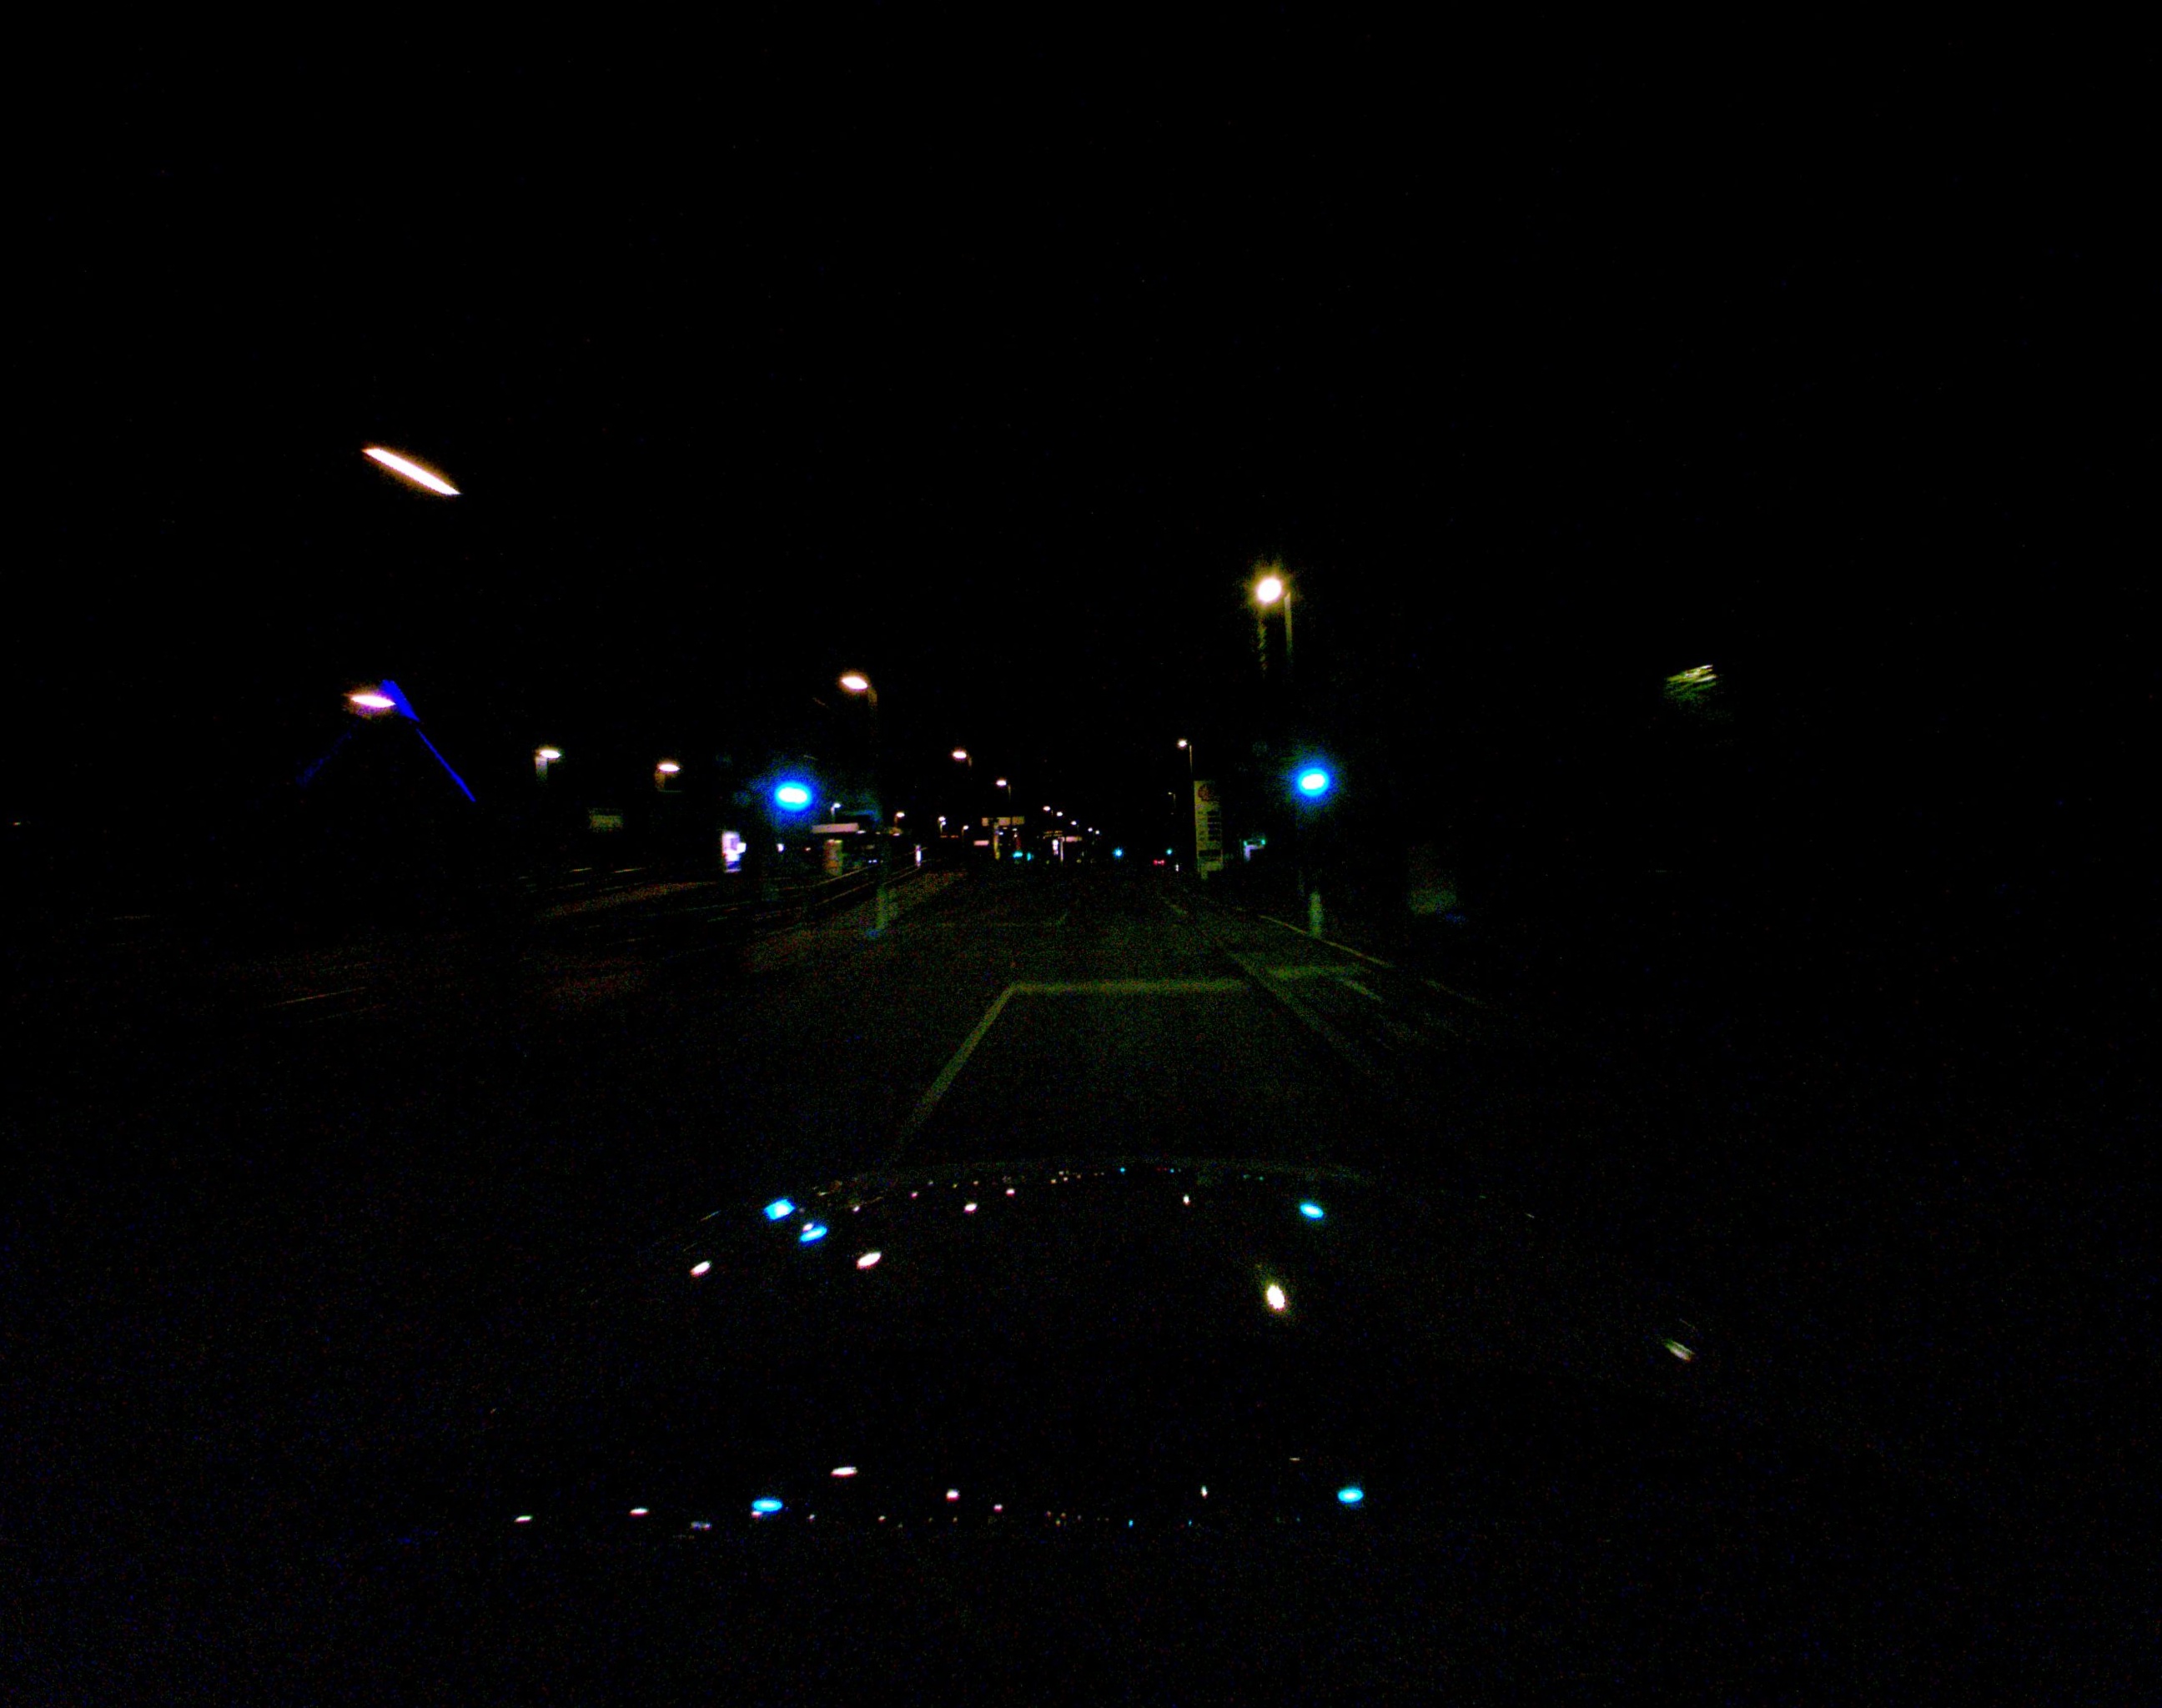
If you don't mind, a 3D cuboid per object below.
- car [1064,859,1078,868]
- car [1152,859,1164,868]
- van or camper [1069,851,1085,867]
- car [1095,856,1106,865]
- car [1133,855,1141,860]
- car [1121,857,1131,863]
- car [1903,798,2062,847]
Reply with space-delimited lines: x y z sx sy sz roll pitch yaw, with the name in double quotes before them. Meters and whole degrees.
"car" -1.760 1.682 148.144 1.636 1.339 4.555 -6 -1 10
"car" 14.418 1.722 151.598 2.150 1.583 4.020 -1 -1 6
"van or camper" -0.773 0.930 154.519 2.261 2.647 5.674 -4 -1 6
"car" 4.395 1.354 181.173 1.846 1.904 4.891 -2 0 8
"car" 17.091 1.009 248.287 1.981 1.338 5.447 -2 0 10
"car" 12.668 1.727 229.037 1.981 1.628 4.690 -2 0 10
"car" 32.823 -1.119 29.740 3.758 1.473 1.750 -3 -1 1
